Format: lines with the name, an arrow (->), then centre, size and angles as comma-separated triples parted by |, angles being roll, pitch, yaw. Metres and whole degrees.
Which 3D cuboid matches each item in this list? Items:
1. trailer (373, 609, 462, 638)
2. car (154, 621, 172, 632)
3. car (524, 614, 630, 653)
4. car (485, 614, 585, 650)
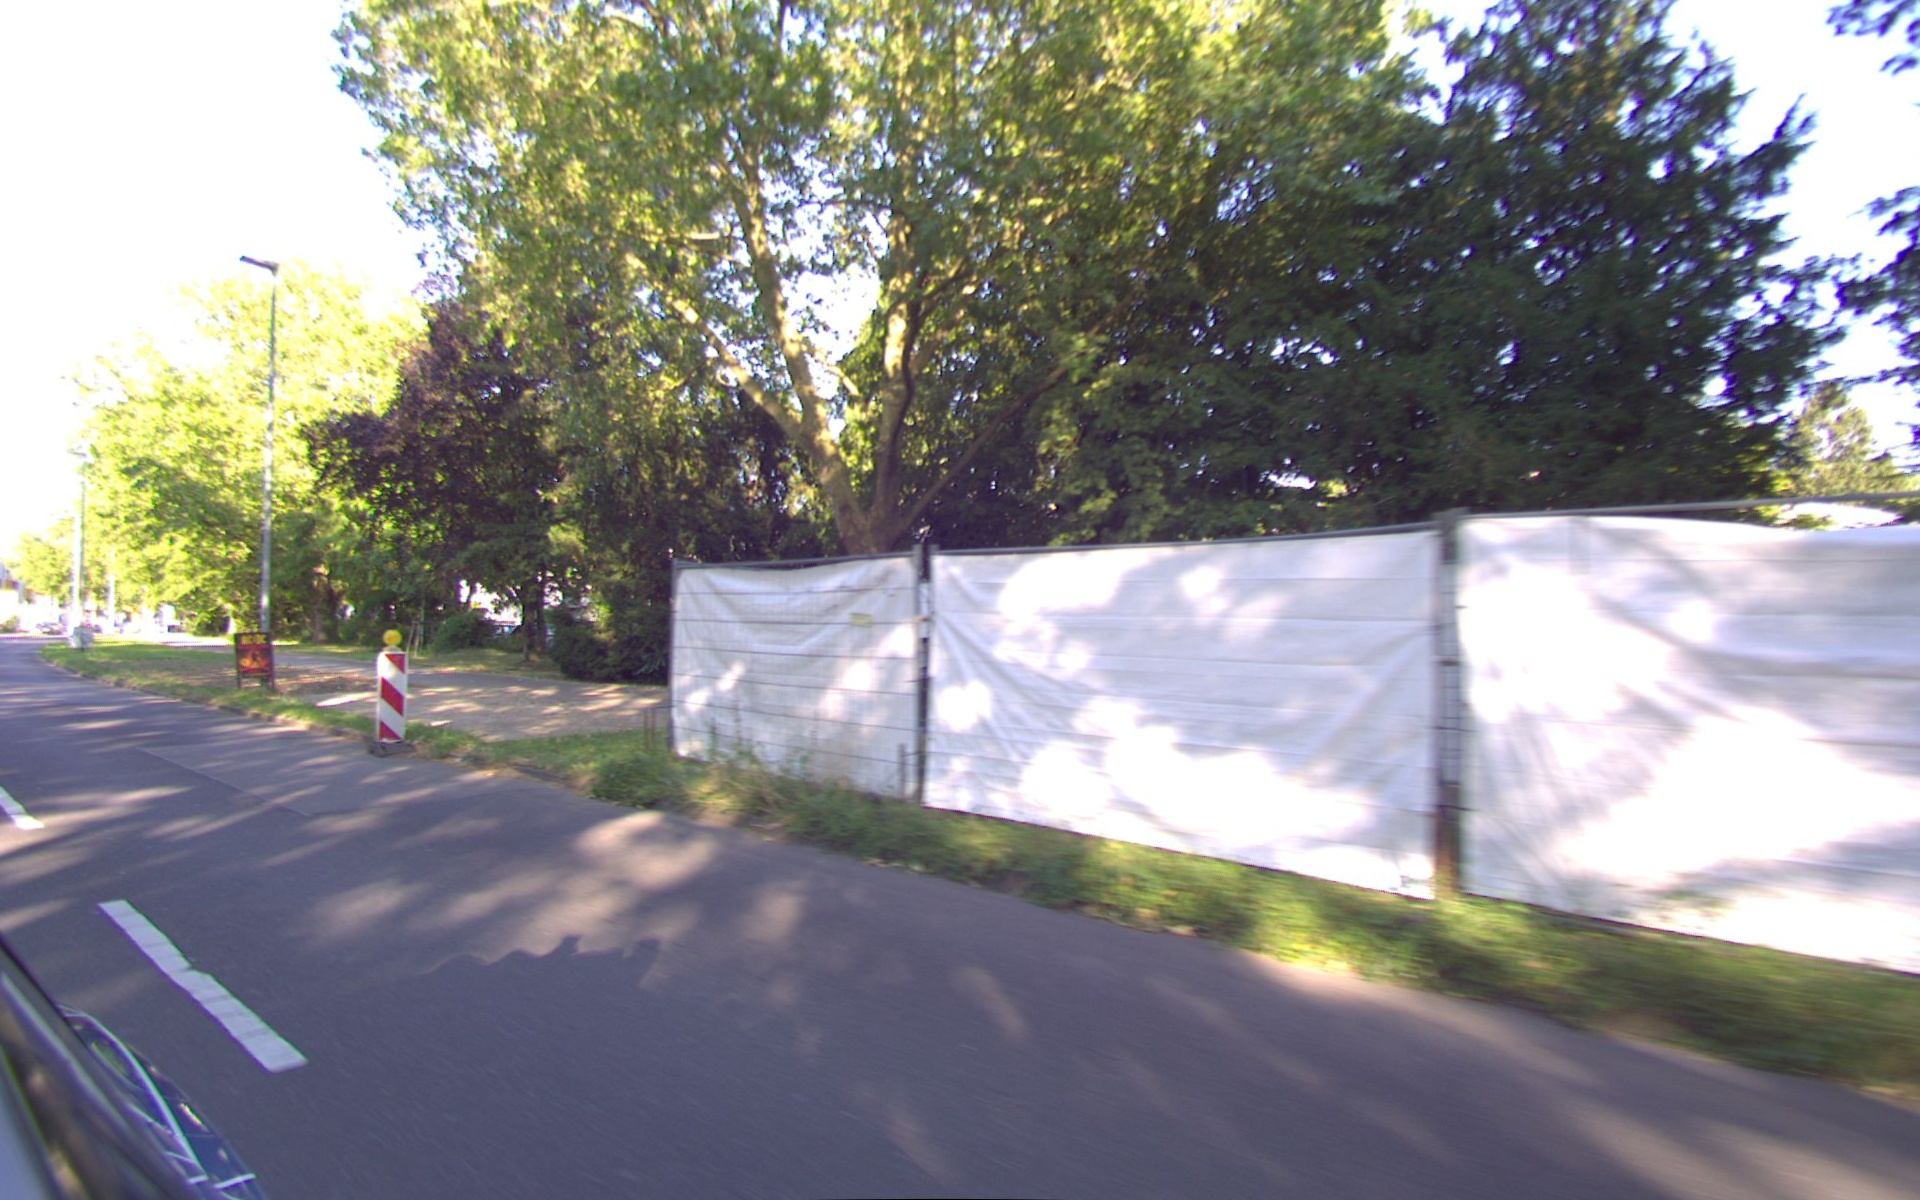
trailer -> -30.016, 1.299, 56.037 | 3.940, 1.567, 2.001 | 2, -2, -44
car -> -117.950, 3.965, 149.861 | 1.737, 1.495, 4.119 | -1, -1, -33
car -> -16.952, 1.465, 44.907 | 1.929, 1.613, 3.944 | 0, -1, 42
car -> -20.245, 1.532, 48.276 | 1.929, 1.614, 3.944 | -1, -2, 42
